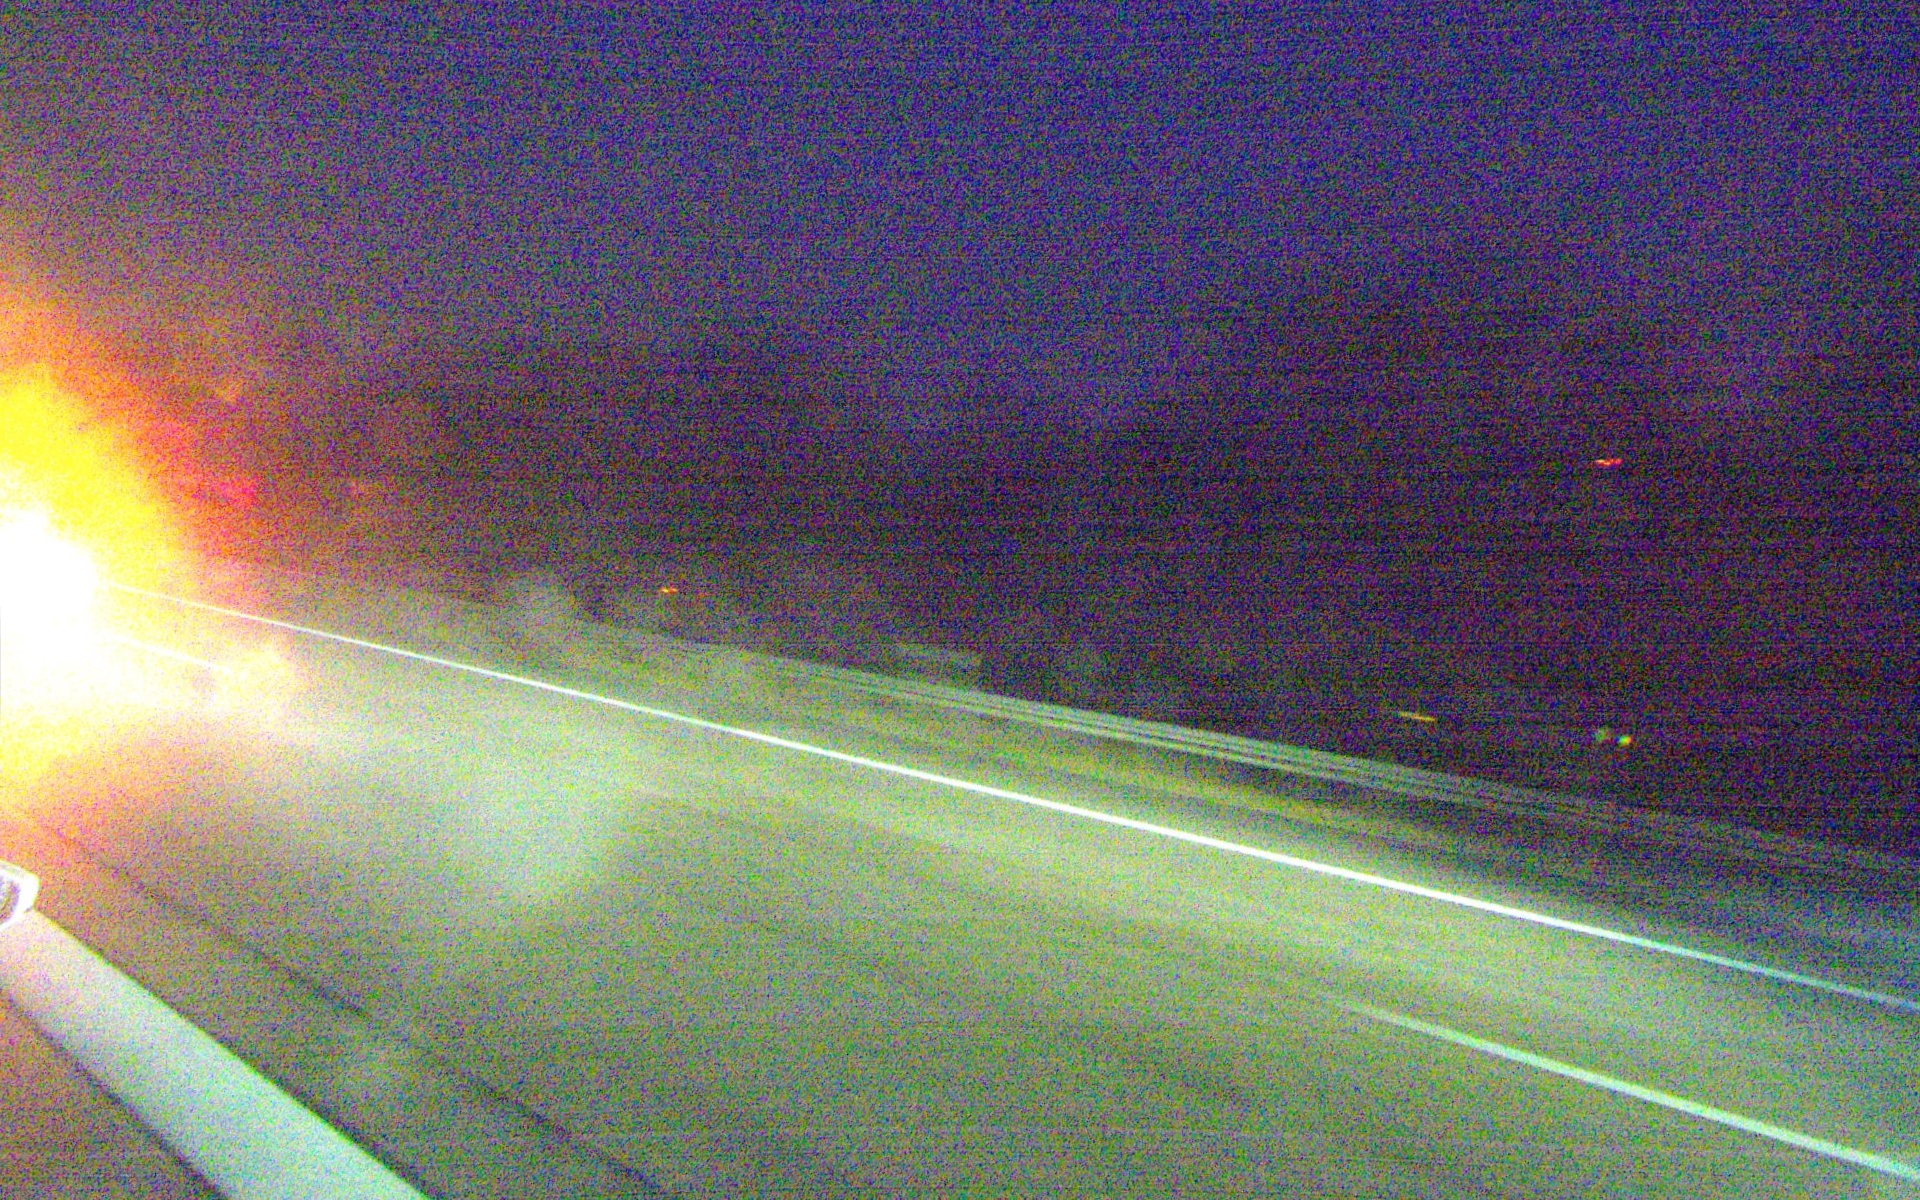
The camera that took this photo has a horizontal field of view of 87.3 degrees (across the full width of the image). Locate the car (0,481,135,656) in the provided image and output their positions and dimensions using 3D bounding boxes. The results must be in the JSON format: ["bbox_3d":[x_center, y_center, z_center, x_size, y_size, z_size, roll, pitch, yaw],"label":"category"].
[{"bbox_3d":[-10.764,-0.550,10.327,4.934,1.537,2.061,7,-1,33],"label":"car"}]
